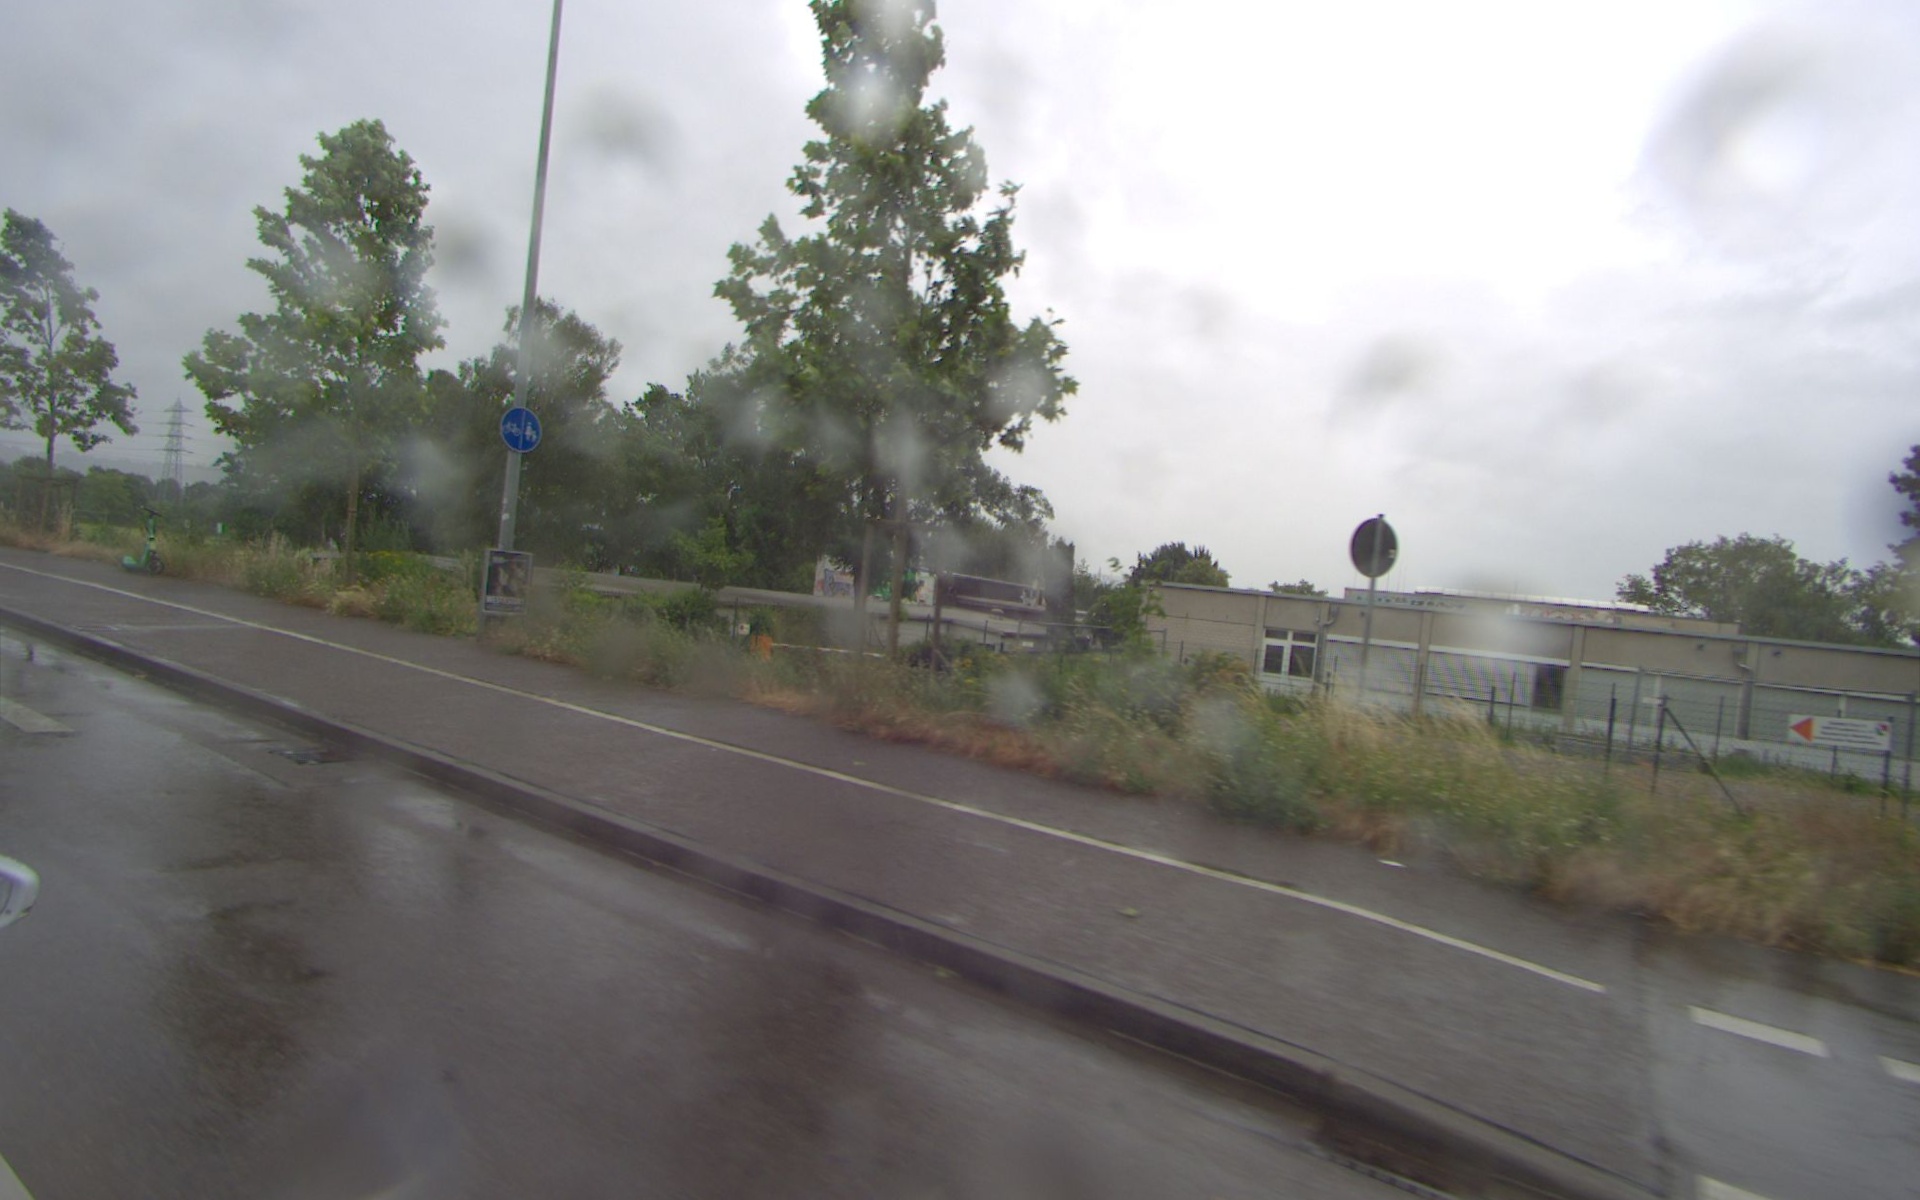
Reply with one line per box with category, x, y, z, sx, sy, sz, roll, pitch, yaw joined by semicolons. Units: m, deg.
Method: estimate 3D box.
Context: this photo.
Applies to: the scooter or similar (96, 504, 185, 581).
scooter or similar;-14.990;-1.054;18.394;1.535;1.210;0.644;7;1;28
